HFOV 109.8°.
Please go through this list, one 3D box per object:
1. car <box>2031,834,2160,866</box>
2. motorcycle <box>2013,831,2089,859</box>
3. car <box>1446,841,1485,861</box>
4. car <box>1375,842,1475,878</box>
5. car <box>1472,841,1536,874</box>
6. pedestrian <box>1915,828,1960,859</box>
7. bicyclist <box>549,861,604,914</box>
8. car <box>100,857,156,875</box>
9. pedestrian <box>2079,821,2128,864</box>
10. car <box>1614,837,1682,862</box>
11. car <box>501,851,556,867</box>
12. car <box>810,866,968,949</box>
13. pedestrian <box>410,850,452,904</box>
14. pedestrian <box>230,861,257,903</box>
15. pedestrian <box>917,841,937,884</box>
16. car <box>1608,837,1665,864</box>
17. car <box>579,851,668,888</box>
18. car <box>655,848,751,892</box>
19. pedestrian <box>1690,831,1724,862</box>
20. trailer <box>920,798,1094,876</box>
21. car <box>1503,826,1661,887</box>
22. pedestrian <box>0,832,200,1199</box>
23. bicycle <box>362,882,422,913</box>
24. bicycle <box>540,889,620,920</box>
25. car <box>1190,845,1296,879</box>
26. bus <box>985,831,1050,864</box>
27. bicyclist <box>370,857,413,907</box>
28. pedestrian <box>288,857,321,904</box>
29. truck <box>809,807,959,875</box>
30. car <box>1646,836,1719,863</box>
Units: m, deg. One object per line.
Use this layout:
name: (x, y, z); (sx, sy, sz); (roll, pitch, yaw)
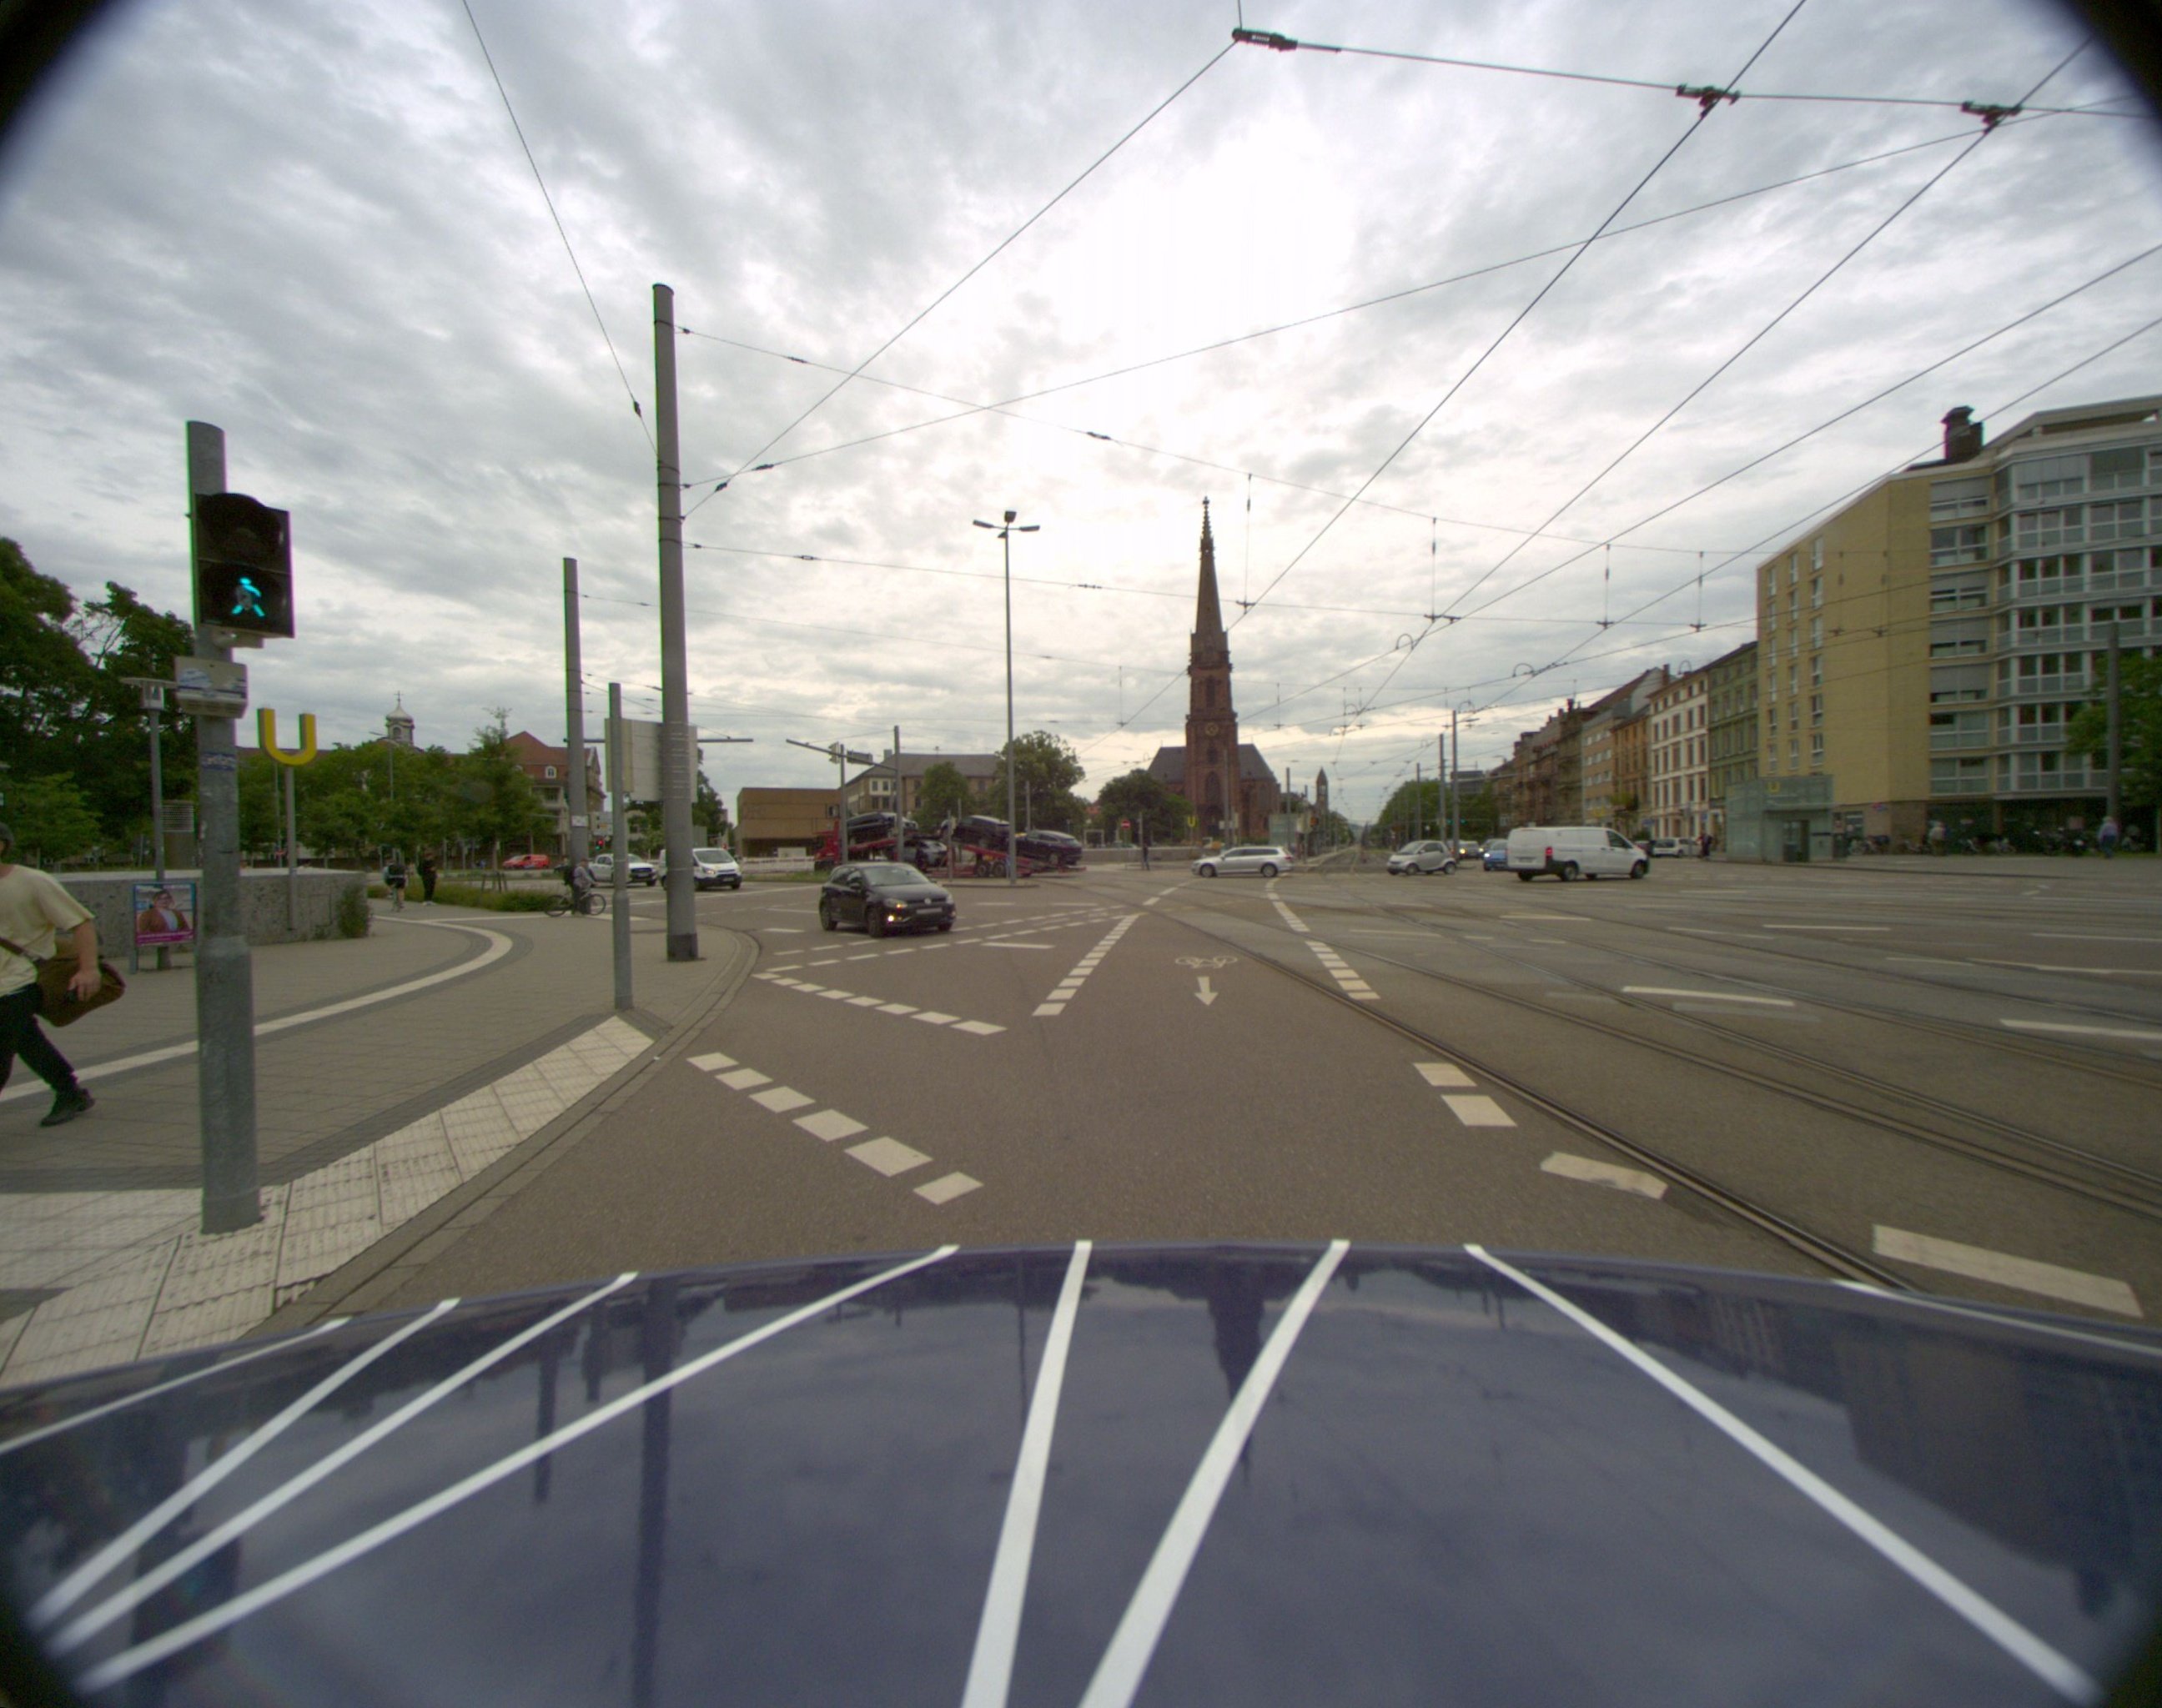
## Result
car: (52.275, -0.198, 39.292); (1.996, 1.543, 4.004); (-1, 1, 16)
motorcycle: (43.386, -0.414, 34.036); (0.862, 1.172, 2.550); (-1, 2, 20)
car: (29.189, -0.264, 57.761); (1.996, 1.434, 4.005); (-1, 1, 17)
car: (15.537, 0.263, 34.425); (3.619, 1.485, 1.999); (-1, 1, -1)
car: (20.685, 0.135, 37.294); (1.996, 1.484, 4.064); (-1, 0, 18)
pedestrian: (45.912, -0.554, 40.757); (1.039, 1.630, 1.333); (-1, 1, 16)
bicyclist: (-14.883, 0.969, 22.437); (0.758, 1.512, 1.103); (0, 1, 33)
car: (-103.651, 1.315, 82.675); (3.994, 1.718, 2.001); (-1, 2, 8)
pedestrian: (41.728, -0.471, 31.018); (0.706, 1.710, 0.916); (-1, 2, 8)
car: (42.887, -0.389, 57.470); (4.002, 1.745, 2.078); (-2, 2, -15)
car: (-64.841, 0.597, 89.250); (1.910, 1.707, 5.247); (-1, 1, 12)
car: (-4.103, 1.002, 15.818); (1.659, 1.404, 3.989); (-2, 1, -38)
pedestrian: (-23.862, 0.831, 27.915); (0.723, 1.917, 0.874); (-1, 1, 4)
pedestrian: (-35.601, 1.180, 32.297); (0.596, 1.789, 0.632); (0, -1, 33)
pedestrian: (-7.054, 0.391, 34.768); (0.781, 1.932, 0.980); (-1, 1, -15)
car: (31.375, -0.216, 43.027); (1.771, 1.460, 4.006); (-1, 1, 23)
car: (-24.591, 0.812, 40.834); (4.738, 1.838, 2.094); (-1, 1, 32)
car: (-17.690, 0.708, 35.495); (4.511, 1.931, 2.004); (-1, 1, 35)
pedestrian: (35.865, -0.431, 43.517); (1.178, 1.774, 1.042); (-1, 1, 15)
trailer: (-4.211, -0.852, 42.106); (9.527, 3.951, 3.001); (-1, 2, 31)
car: (17.598, 0.043, 26.724); (5.093, 1.872, 1.920); (-2, 3, -19)
pedestrian: (-6.009, 0.820, 4.164); (0.888, 1.857, 1.285); (-1, 1, -12)
bicycle: (-21.903, 1.363, 24.200); (0.673, 0.927, 1.857); (1, -1, -17)
bicycle: (-14.871, 1.478, 22.589); (0.765, 0.835, 1.830); (0, -1, 33)
car: (7.631, 0.399, 35.708); (4.669, 1.484, 2.003); (-1, -1, 18)
bus: (-6.755, -0.768, 78.085); (2.868, 3.060, 11.994); (-3, 2, -24)
bicyclist: (-21.879, 0.893, 24.117); (0.693, 1.551, 0.925); (0, -1, -18)
pedestrian: (-30.438, 1.040, 29.779); (0.701, 1.795, 0.841); (0, 2, 42)
truck: (-12.537, -0.764, 47.740); (10.426, 3.898, 3.020); (0, 3, 36)
car: (43.068, -0.368, 54.417); (4.002, 1.745, 2.078); (-2, 2, -15)
